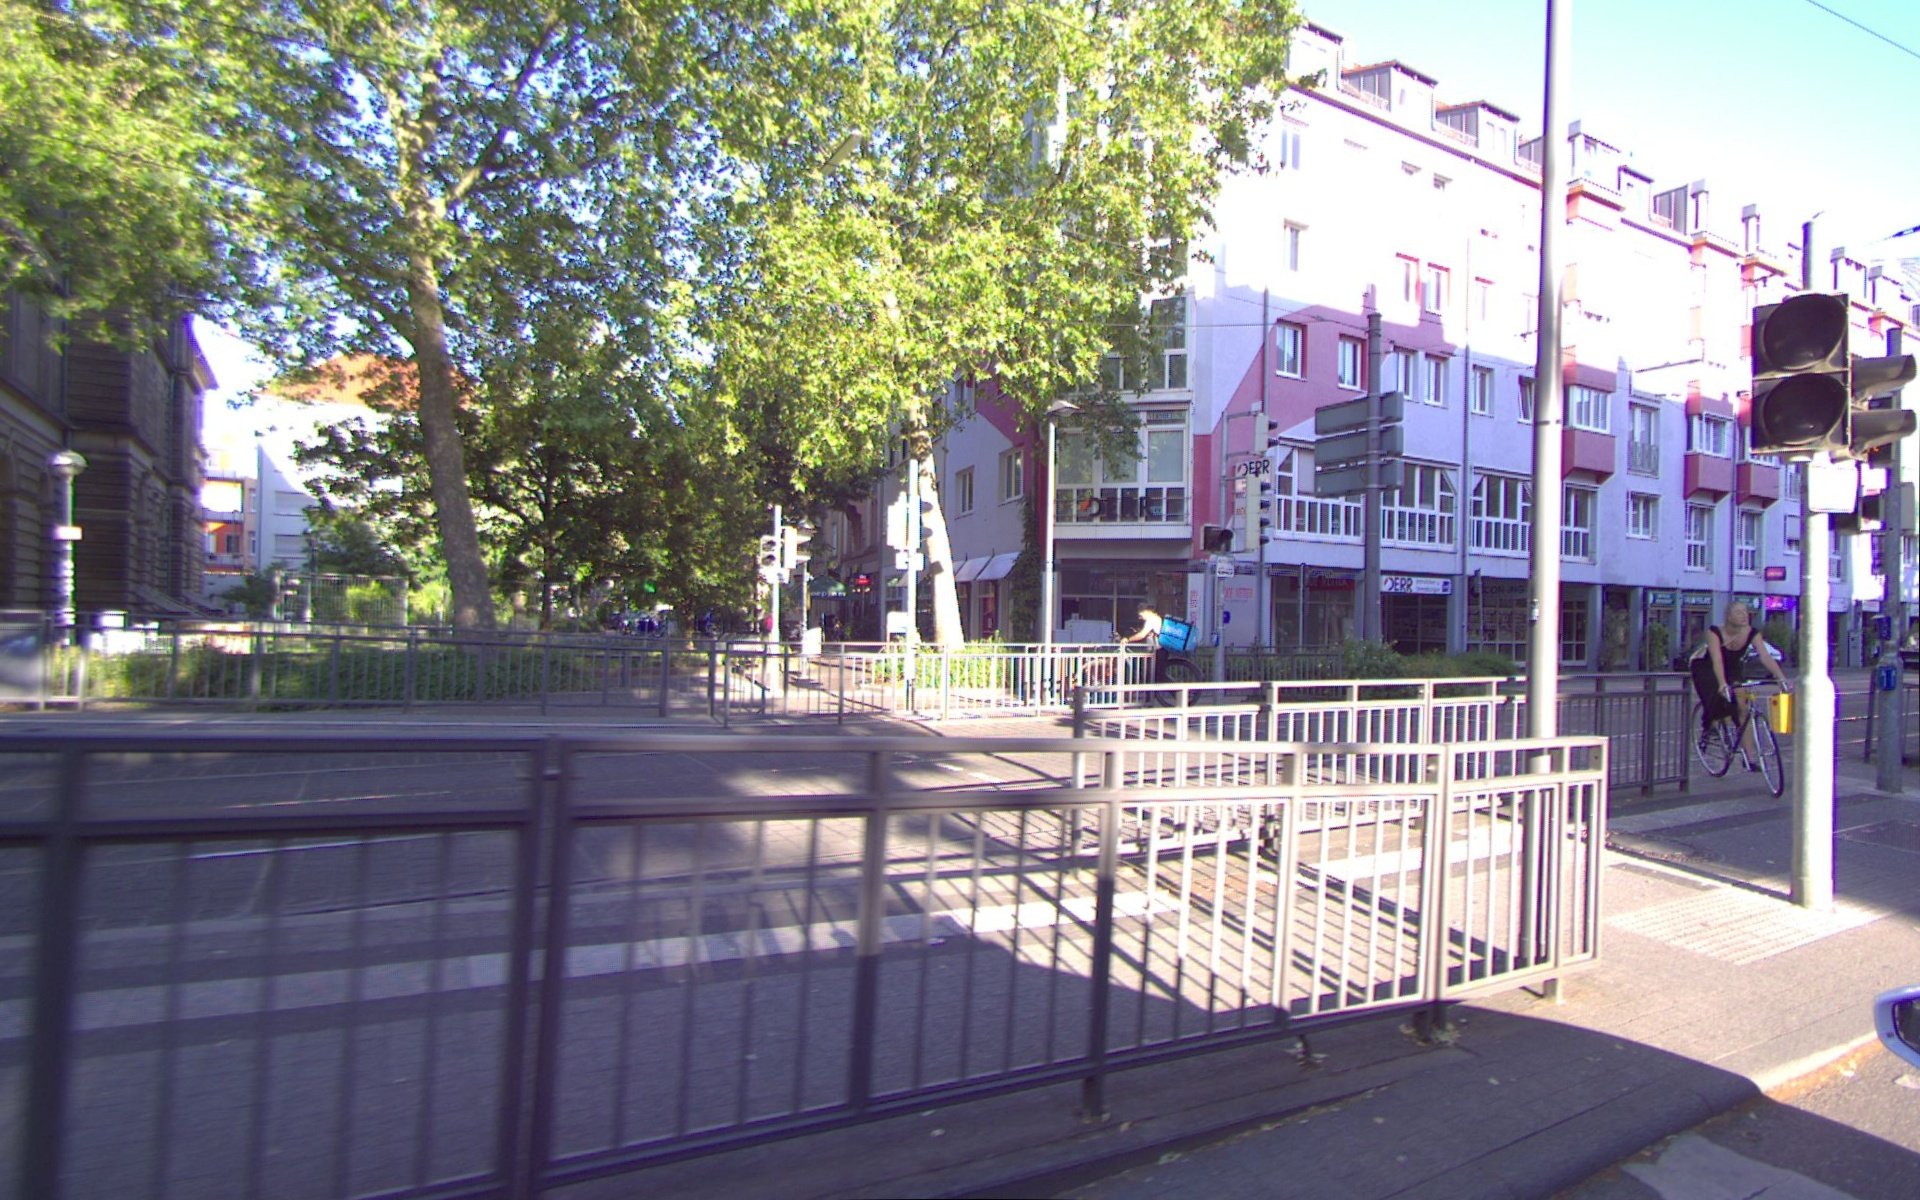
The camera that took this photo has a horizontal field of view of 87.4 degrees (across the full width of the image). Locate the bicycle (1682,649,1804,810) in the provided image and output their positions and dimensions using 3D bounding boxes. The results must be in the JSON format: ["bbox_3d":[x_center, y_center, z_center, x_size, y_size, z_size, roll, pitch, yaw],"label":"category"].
[{"bbox_3d":[6.526,1.014,8.446,0.574,1.092,1.894,4,2,32],"label":"bicycle"}]

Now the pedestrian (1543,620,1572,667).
[{"bbox_3d":[22.909,1.659,38.510,0.609,1.735,0.739,1,0,-33],"label":"pedestrian"}]

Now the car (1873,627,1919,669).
[{"bbox_3d":[43.458,2.214,45.291,4.765,1.735,2.080,3,0,-31],"label":"car"}]

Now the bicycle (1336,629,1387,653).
[{"bbox_3d":[11.674,1.196,29.208,1.792,0.667,0.452,2,2,-36],"label":"bicycle"}]

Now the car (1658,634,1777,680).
[{"bbox_3d":[26.820,1.995,35.534,4.656,1.458,1.858,2,0,-33],"label":"car"}]

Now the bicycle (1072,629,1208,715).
[{"bbox_3d":[2.650,1.043,14.811,1.861,1.092,0.584,3,2,18],"label":"bicycle"}]

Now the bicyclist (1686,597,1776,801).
[{"bbox_3d":[6.402,0.780,8.335,0.526,1.599,0.742,1,0,41],"label":"bicyclist"}]

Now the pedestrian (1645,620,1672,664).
[{"bbox_3d":[27.475,1.644,39.485,0.737,1.735,0.610,1,0,-32],"label":"pedestrian"}]

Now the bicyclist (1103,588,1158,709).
[{"bbox_3d":[2.524,0.707,14.834,0.730,1.735,0.534,1,0,15],"label":"bicyclist"}]

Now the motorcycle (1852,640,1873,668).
[{"bbox_3d":[41.178,2.465,45.823,0.662,1.221,2.129,3,0,43],"label":"motorcycle"}]
